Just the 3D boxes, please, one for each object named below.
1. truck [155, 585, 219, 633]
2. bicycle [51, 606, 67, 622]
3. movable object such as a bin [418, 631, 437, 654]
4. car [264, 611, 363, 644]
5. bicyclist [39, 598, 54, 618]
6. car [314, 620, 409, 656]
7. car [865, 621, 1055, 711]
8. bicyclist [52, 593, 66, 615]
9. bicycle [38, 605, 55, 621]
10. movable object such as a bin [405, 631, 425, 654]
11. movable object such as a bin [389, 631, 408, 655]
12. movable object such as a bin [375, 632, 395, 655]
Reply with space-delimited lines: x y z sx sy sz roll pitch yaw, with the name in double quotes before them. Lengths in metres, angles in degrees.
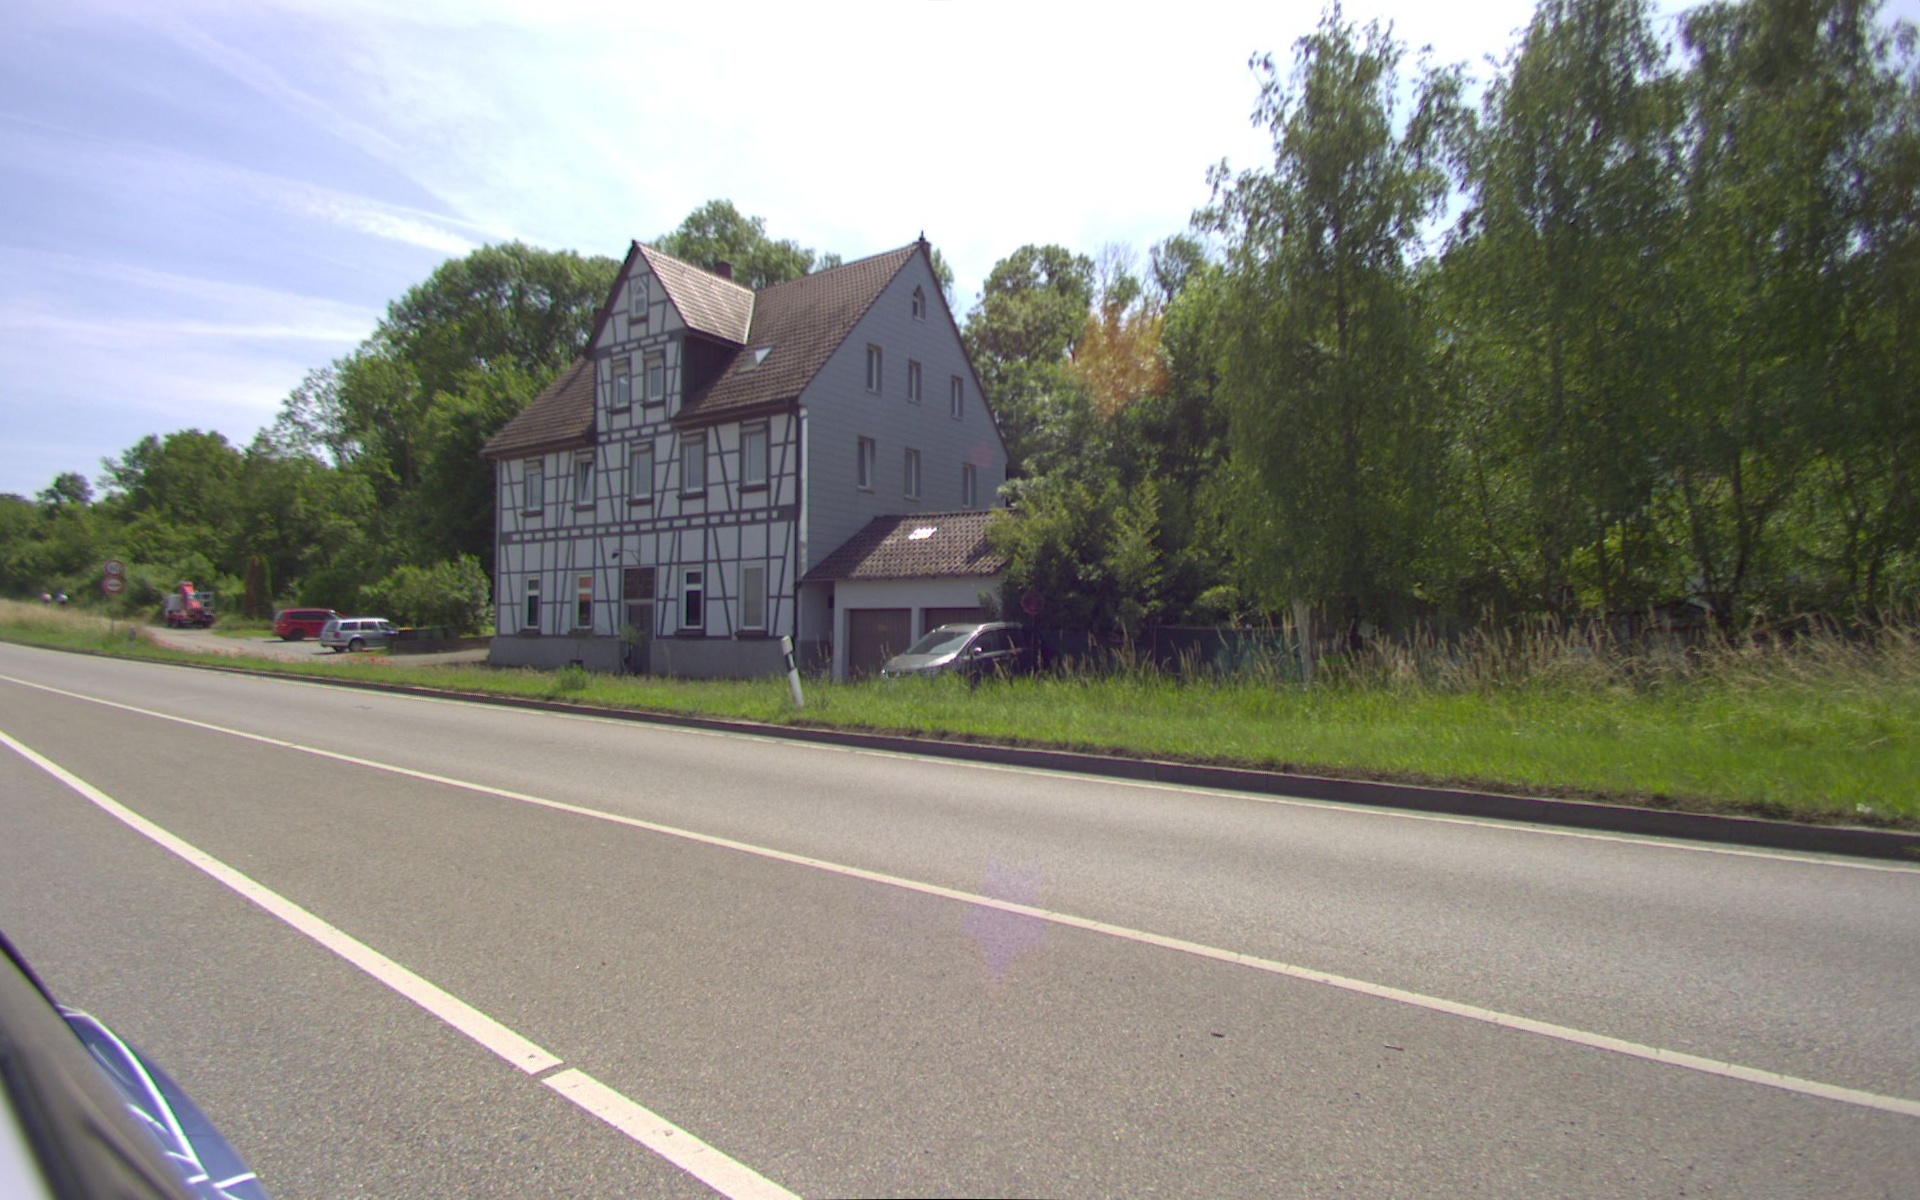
"truck" -50.204 0.548 65.656 6.770 2.986 2.005 0 0 41
"bicycle" -70.939 1.086 79.691 2.105 1.189 0.740 0 0 43
"movable object such as a bin" -23.804 1.897 45.252 0.653 0.984 0.499 1 0 33
"car" -33.684 1.401 52.805 1.832 1.631 3.985 0 0 41
"bicyclist" -73.849 0.633 81.820 0.935 1.607 0.740 0 0 41
"car" -26.801 1.662 45.390 1.606 1.476 3.349 0 0 34
"car" 0.122 1.386 22.607 1.858 1.733 4.622 -3 -2 36
"bicyclist" -70.957 0.339 79.705 0.936 1.727 0.740 0 0 43
"bicycle" -73.872 1.066 81.851 2.103 1.221 0.741 0 0 41
"movable object such as a bin" -24.104 1.883 44.773 0.653 0.978 0.499 1 0 33
"movable object such as a bin" -24.530 1.868 44.203 0.653 0.977 0.499 1 0 33
"movable object such as a bin" -24.847 1.889 43.748 0.653 0.943 0.499 1 0 33
